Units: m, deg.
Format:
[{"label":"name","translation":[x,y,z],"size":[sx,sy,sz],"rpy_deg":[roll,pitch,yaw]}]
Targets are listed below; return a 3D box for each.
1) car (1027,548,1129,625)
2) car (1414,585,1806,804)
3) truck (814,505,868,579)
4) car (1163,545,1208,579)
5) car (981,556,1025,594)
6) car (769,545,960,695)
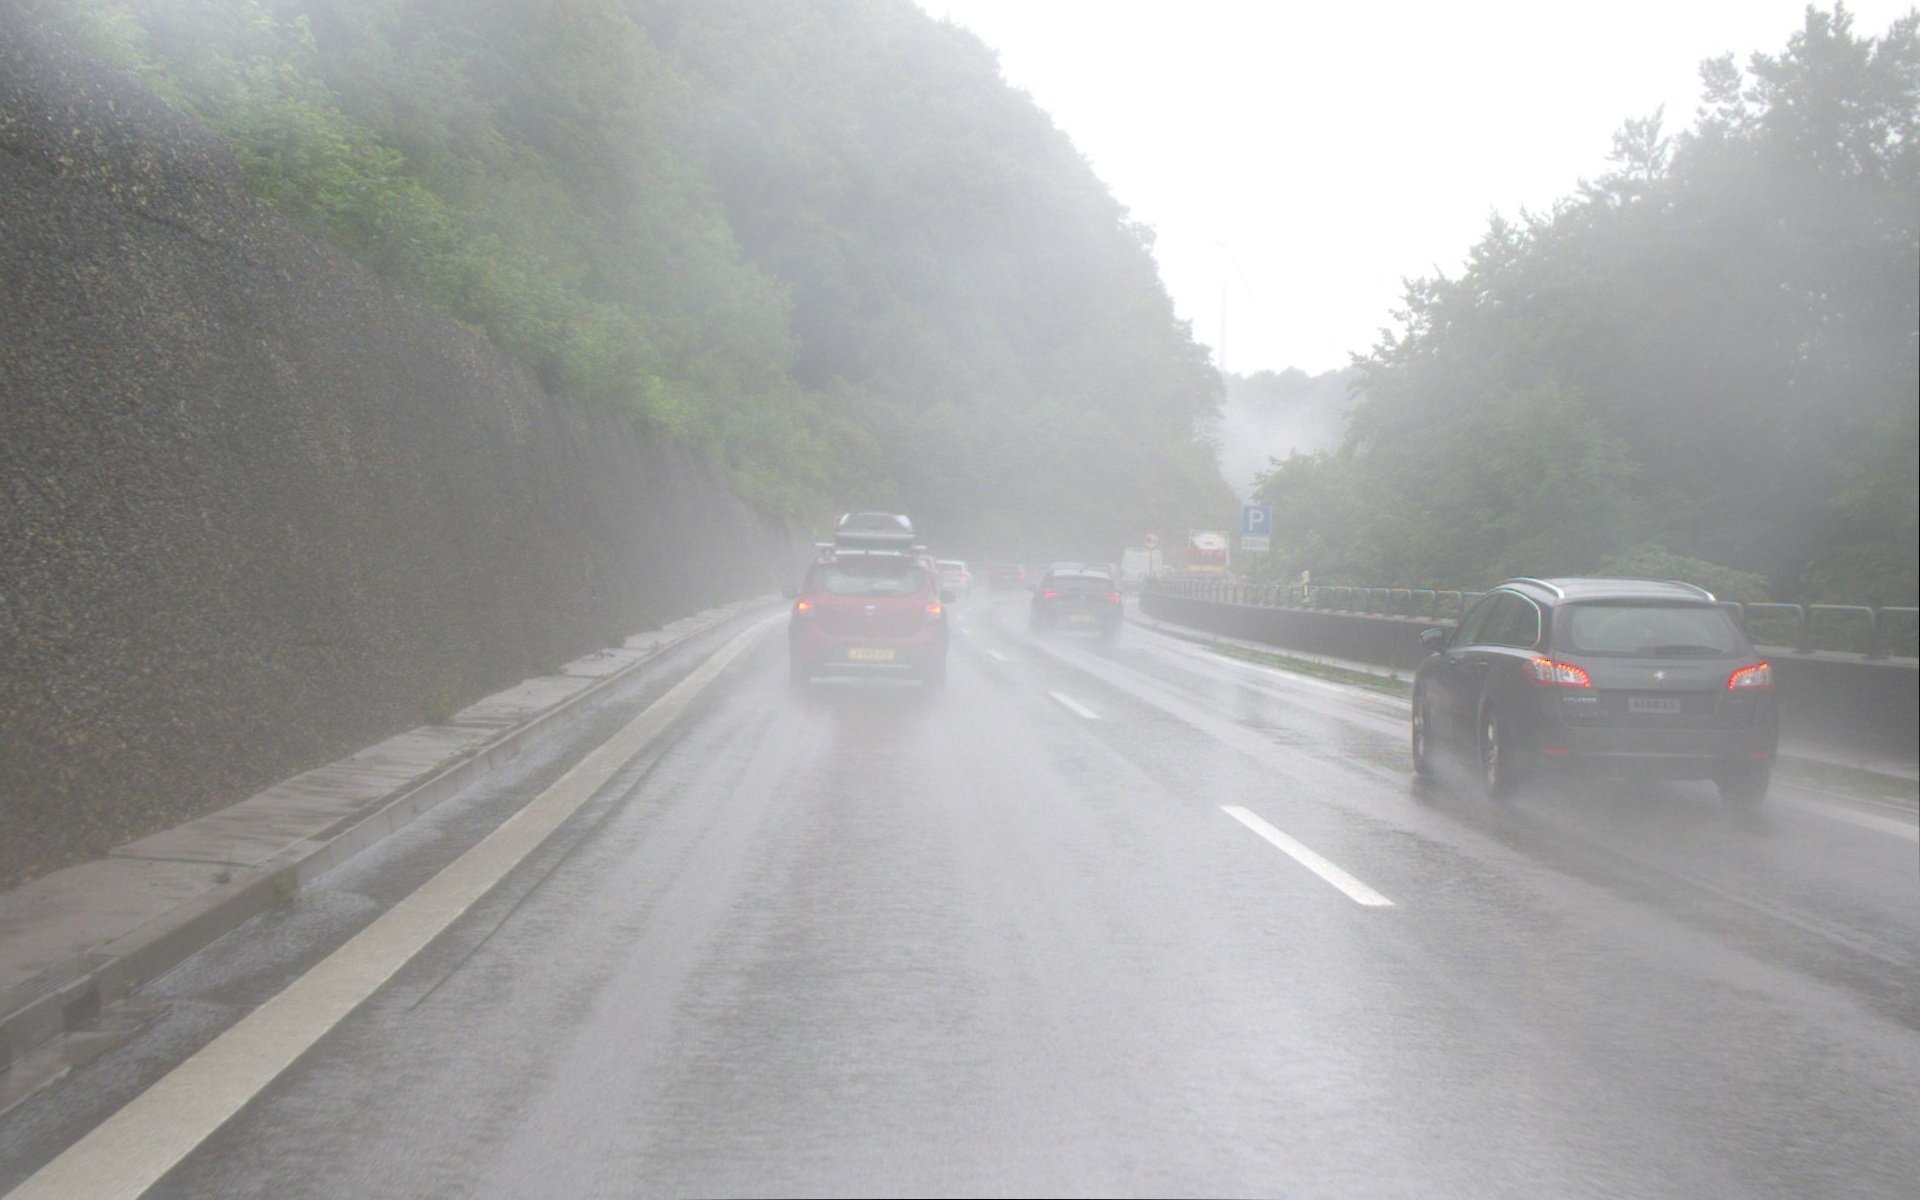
[{"label":"car","translation":[2.441,-0.296,71.860],"size":[1.993,1.546,4.000],"rpy_deg":[0,1,0]},{"label":"car","translation":[4.241,0.568,23.020],"size":[1.800,1.303,4.000],"rpy_deg":[0,1,-1]},{"label":"truck","translation":[-4.507,-2.181,130.914],"size":[1.993,2.741,5.587],"rpy_deg":[-1,1,-2]},{"label":"car","translation":[13.746,-2.304,209.410],"size":[2.449,2.007,4.735],"rpy_deg":[0,1,7]},{"label":"car","translation":[1.996,-1.176,159.593],"size":[1.993,1.743,4.000],"rpy_deg":[0,1,0]},{"label":"car","translation":[-1.064,0.214,38.342],"size":[1.993,1.547,4.000],"rpy_deg":[-1,0,-2]}]
